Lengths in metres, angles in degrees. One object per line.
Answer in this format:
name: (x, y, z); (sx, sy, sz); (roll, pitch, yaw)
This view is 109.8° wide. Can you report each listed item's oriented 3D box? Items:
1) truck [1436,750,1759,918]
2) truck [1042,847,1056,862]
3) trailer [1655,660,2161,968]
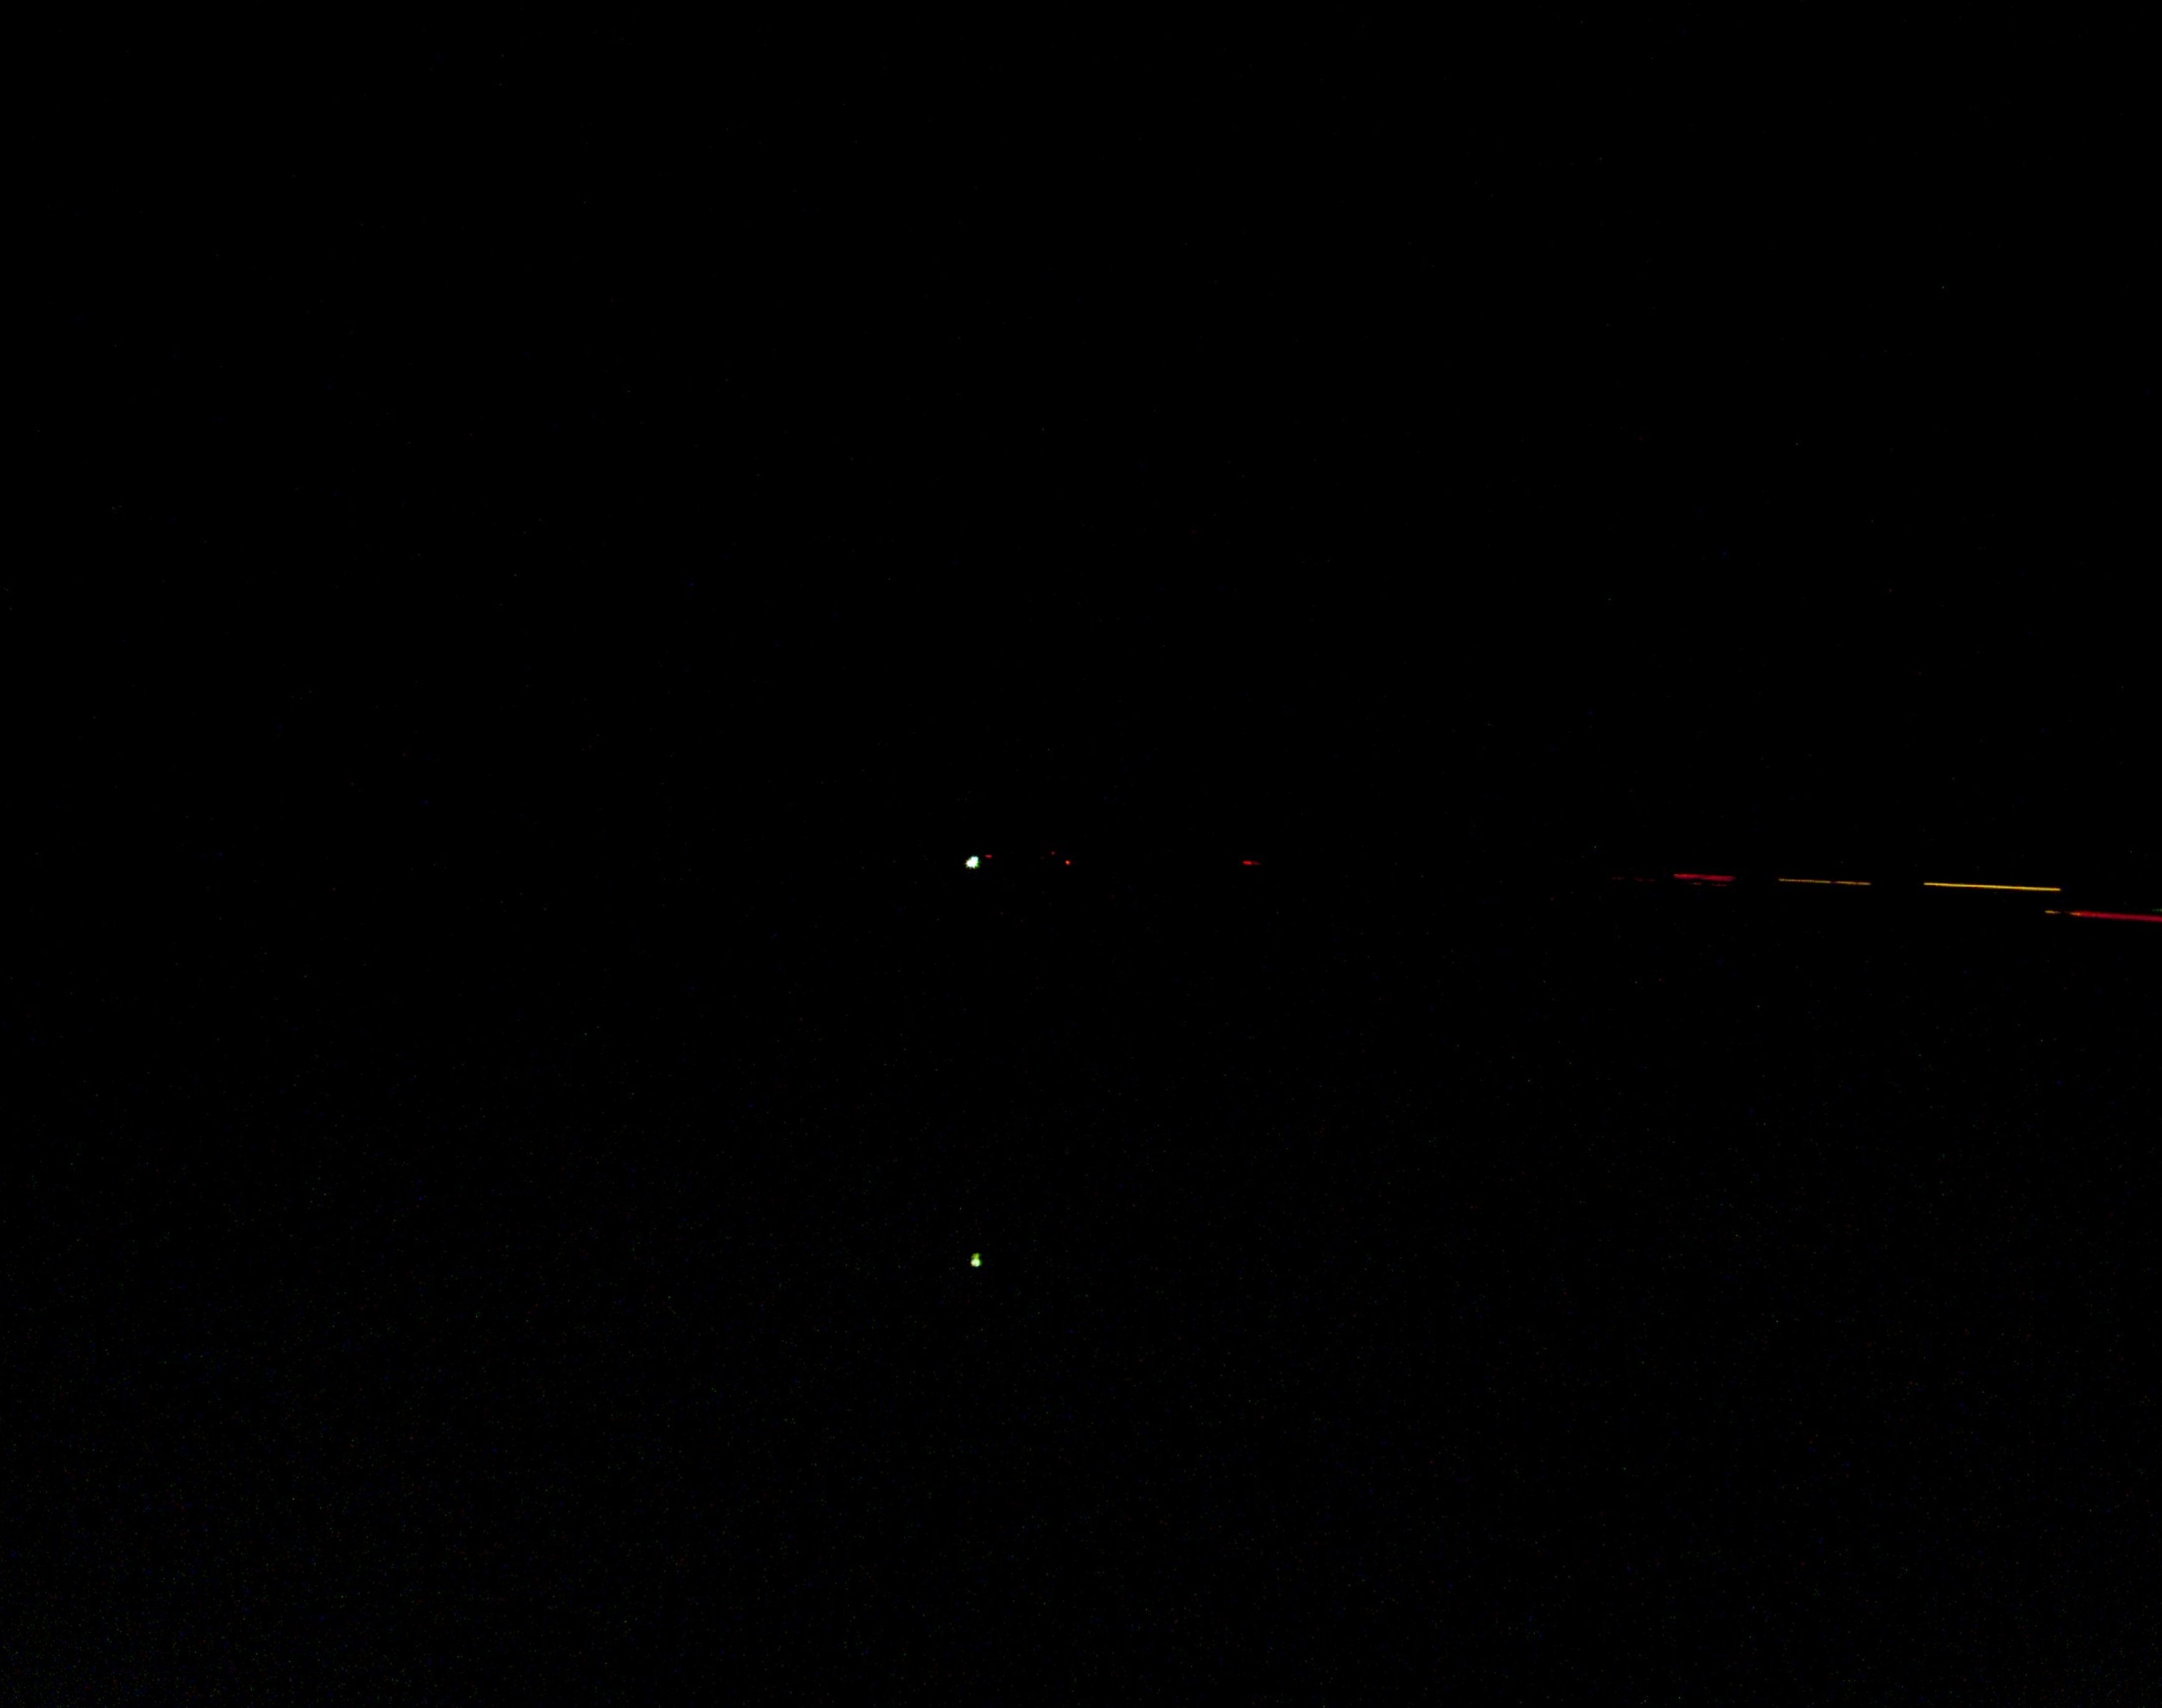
truck: (14.993, -0.491, 23.692); (2.687, 4.021, 10.652); (-1, 0, -1)
truck: (-9.622, 0.171, 228.720); (2.755, 4.103, 13.898); (-1, 0, -8)
trailer: (15.166, -0.529, 13.772); (2.724, 3.933, 9.046); (-1, 0, 0)
